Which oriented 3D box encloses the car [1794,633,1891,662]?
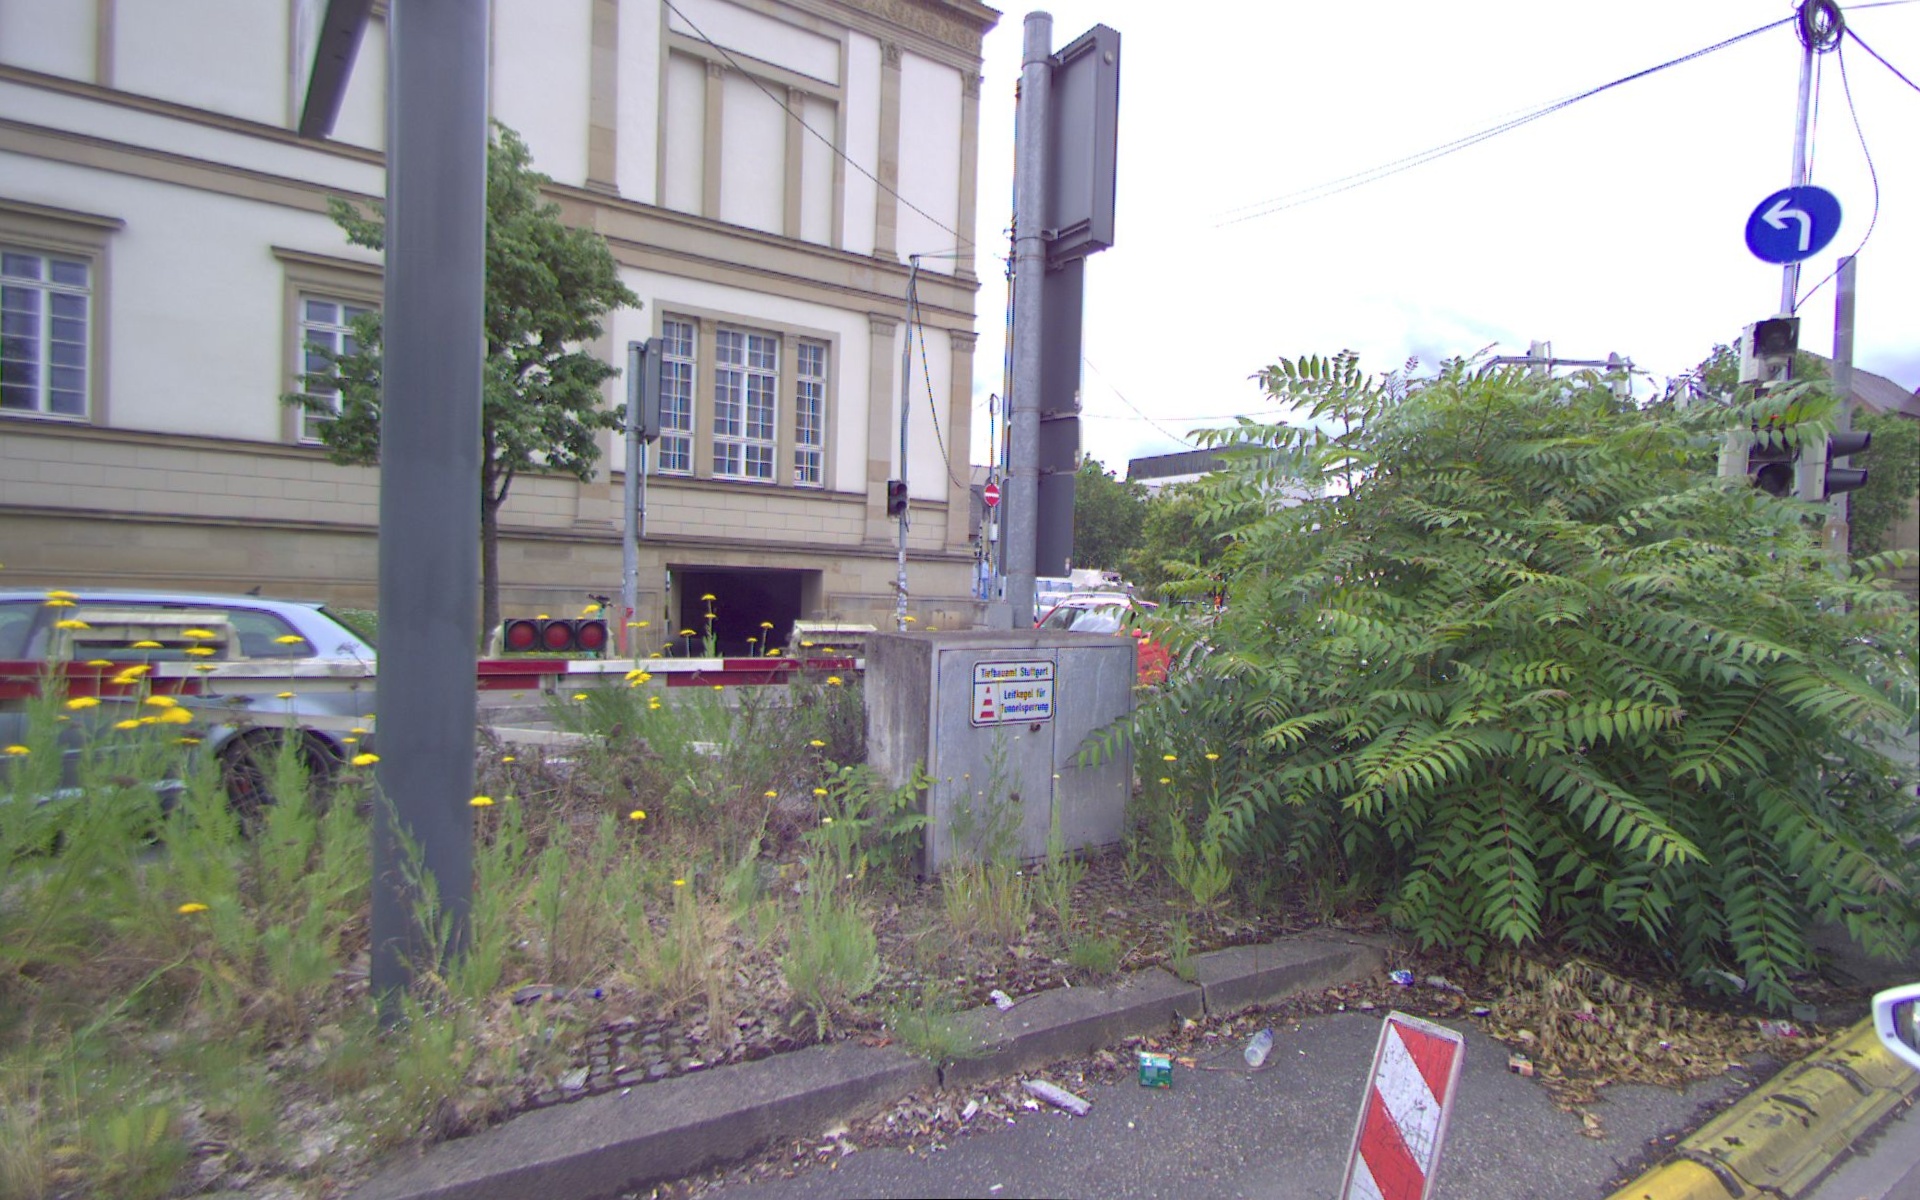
[{"bbox_3d":[44.528,2.368,50.781,3.563,1.271,1.674,2,0,39],"label":"car"}]

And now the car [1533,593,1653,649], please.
[{"bbox_3d":[34.738,1.105,55.222,1.818,2.894,5.269,2,0,-44],"label":"car"}]

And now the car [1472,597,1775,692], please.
[{"bbox_3d":[13.316,0.819,20.436,2.004,1.646,4.768,2,0,-39],"label":"car"}]

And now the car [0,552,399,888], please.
[{"bbox_3d":[-5.363,0.566,5.451,3.773,1.639,1.758,2,0,-41],"label":"car"}]

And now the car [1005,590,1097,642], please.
[{"bbox_3d":[3.211,0.554,36.330,1.846,1.713,4.252,2,0,-17],"label":"car"}]

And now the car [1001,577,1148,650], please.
[{"bbox_3d":[2.879,0.317,26.179,1.850,1.714,4.242,2,0,-25],"label":"car"}]

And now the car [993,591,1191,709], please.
[{"bbox_3d":[2.125,0.701,15.375,1.619,1.497,3.566,4,1,32],"label":"car"}]
